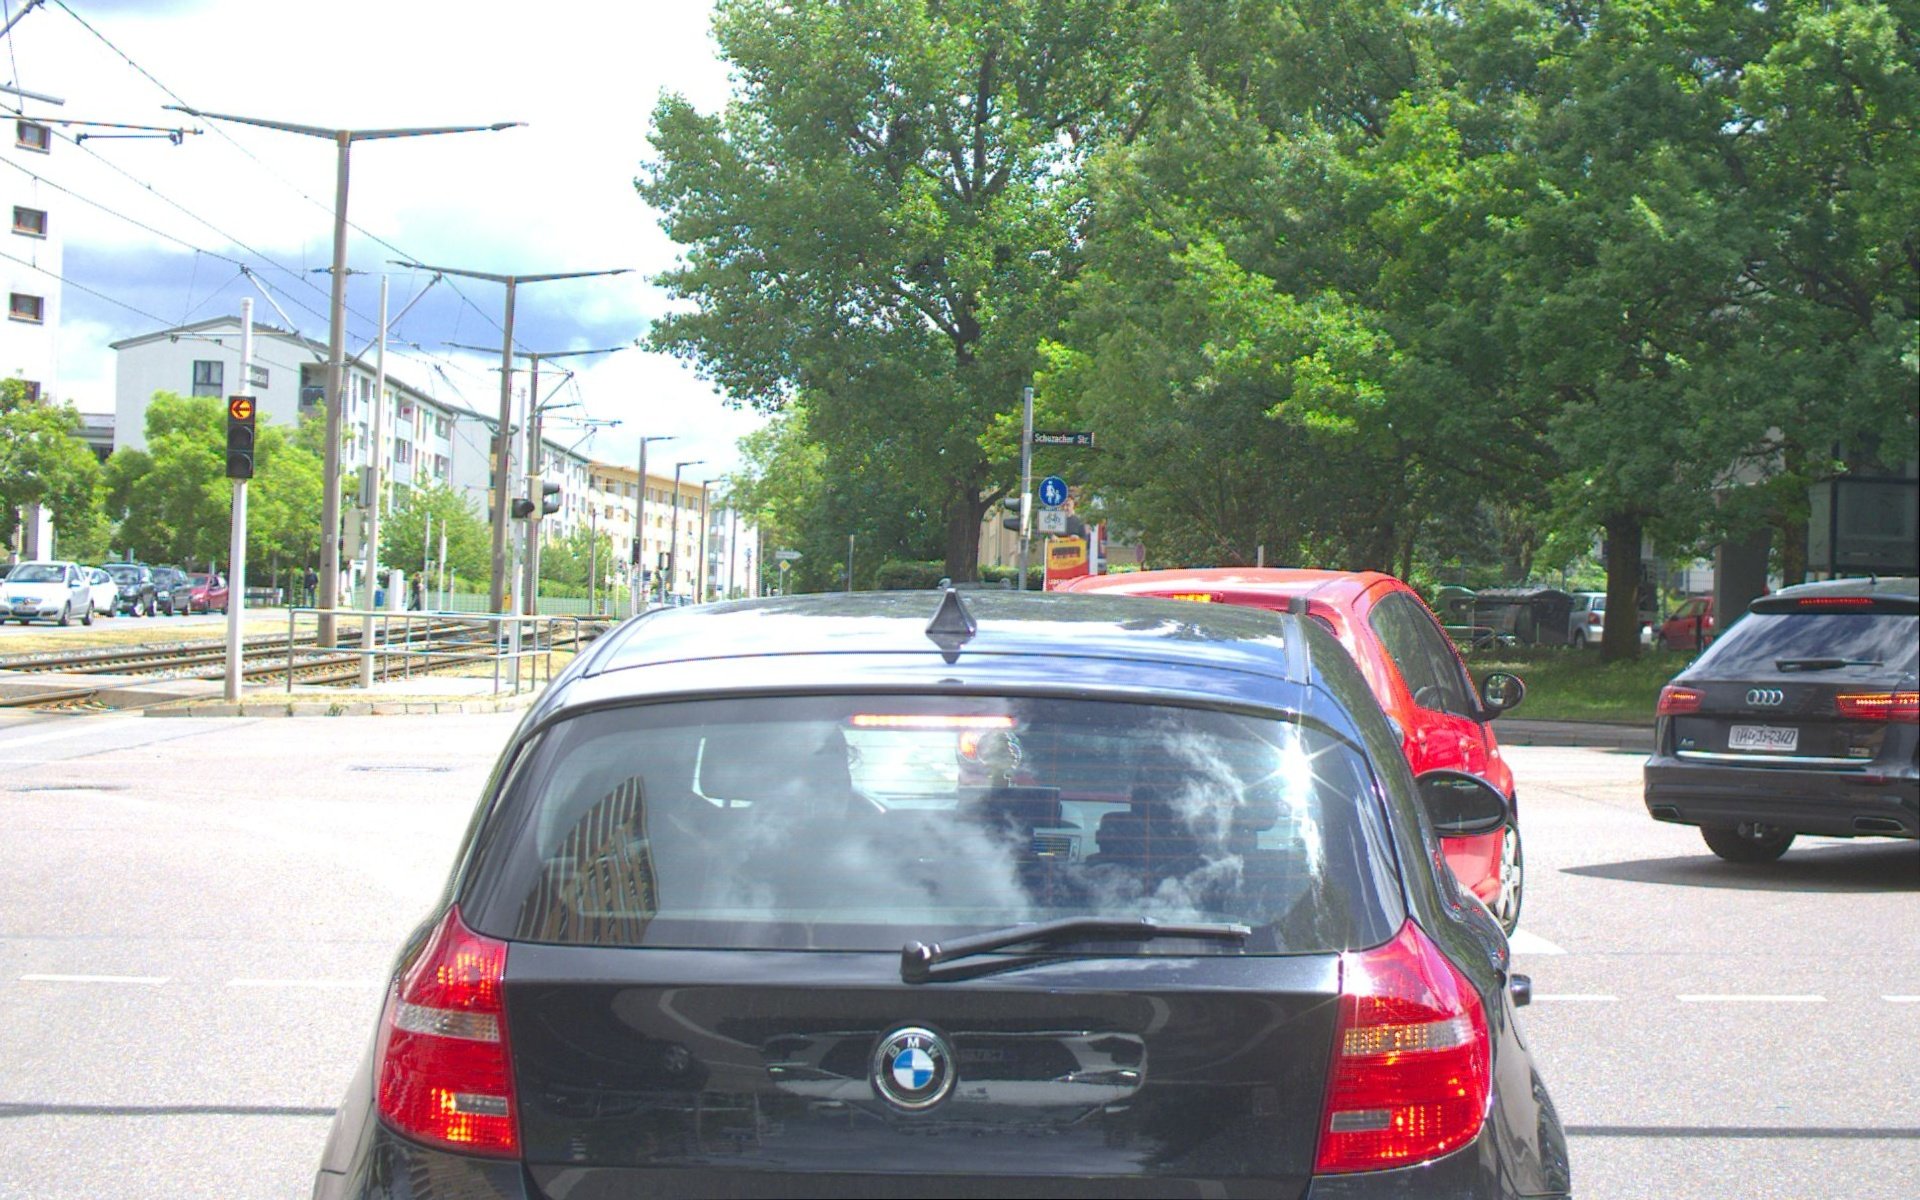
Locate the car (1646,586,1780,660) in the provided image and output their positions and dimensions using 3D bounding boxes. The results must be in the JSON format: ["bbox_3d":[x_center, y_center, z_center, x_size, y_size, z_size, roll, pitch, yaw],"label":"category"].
[{"bbox_3d":[17.341,0.502,79.375,1.730,1.589,4.001,1,1,-8],"label":"car"}]

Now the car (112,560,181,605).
[{"bbox_3d":[-26.521,-0.581,112.166,1.760,1.390,4.001,1,1,-7],"label":"car"}]

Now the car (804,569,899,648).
[{"bbox_3d":[-2.395,0.167,77.029,1.993,1.678,4.000,1,1,0],"label":"car"}]

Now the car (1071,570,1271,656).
[{"bbox_3d":[4.638,0.283,75.728,3.986,1.817,1.779,1,1,-22],"label":"car"}]

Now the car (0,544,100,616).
[{"bbox_3d":[-22.386,-0.505,83.733,1.937,1.687,3.873,1,1,-1],"label":"car"}]

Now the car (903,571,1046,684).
[{"bbox_3d":[0.207,0.420,54.222,2.152,1.678,4.000,1,0,0],"label":"car"}]

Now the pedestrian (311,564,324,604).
[{"bbox_3d":[-26.798,-0.660,143.324,0.452,1.631,0.480,1,1,-5],"label":"pedestrian"}]

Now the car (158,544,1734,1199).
[{"bbox_3d":[-0.040,0.667,5.858,1.752,1.482,4.000,1,1,0],"label":"car"}]

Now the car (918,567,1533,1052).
[{"bbox_3d":[1.059,0.621,12.196,1.543,1.436,3.193,1,1,16],"label":"car"}]

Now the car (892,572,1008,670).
[{"bbox_3d":[-0.190,0.372,61.671,1.993,1.678,4.000,1,0,0],"label":"car"}]

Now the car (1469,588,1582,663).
[{"bbox_3d":[12.745,0.552,77.663,1.630,1.567,4.033,1,1,-3],"label":"car"}]

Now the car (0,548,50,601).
[{"bbox_3d":[-25.953,-0.702,93.519,1.760,1.390,4.001,1,1,-7],"label":"car"}]

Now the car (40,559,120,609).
[{"bbox_3d":[-25.844,-0.475,101.017,1.760,1.390,4.001,1,1,-7],"label":"car"}]

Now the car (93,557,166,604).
[{"bbox_3d":[-25.980,-0.630,107.599,1.760,1.390,4.001,1,1,-7],"label":"car"}]

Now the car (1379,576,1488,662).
[{"bbox_3d":[10.535,0.397,76.698,1.630,1.804,4.033,1,1,-3],"label":"car"}]

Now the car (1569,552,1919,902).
[{"bbox_3d":[5.342,0.565,17.478,4.508,1.548,1.999,0,0,-41],"label":"car"}]

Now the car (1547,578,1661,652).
[{"bbox_3d":[14.762,0.327,78.935,1.630,1.589,4.001,1,1,-3],"label":"car"}]
